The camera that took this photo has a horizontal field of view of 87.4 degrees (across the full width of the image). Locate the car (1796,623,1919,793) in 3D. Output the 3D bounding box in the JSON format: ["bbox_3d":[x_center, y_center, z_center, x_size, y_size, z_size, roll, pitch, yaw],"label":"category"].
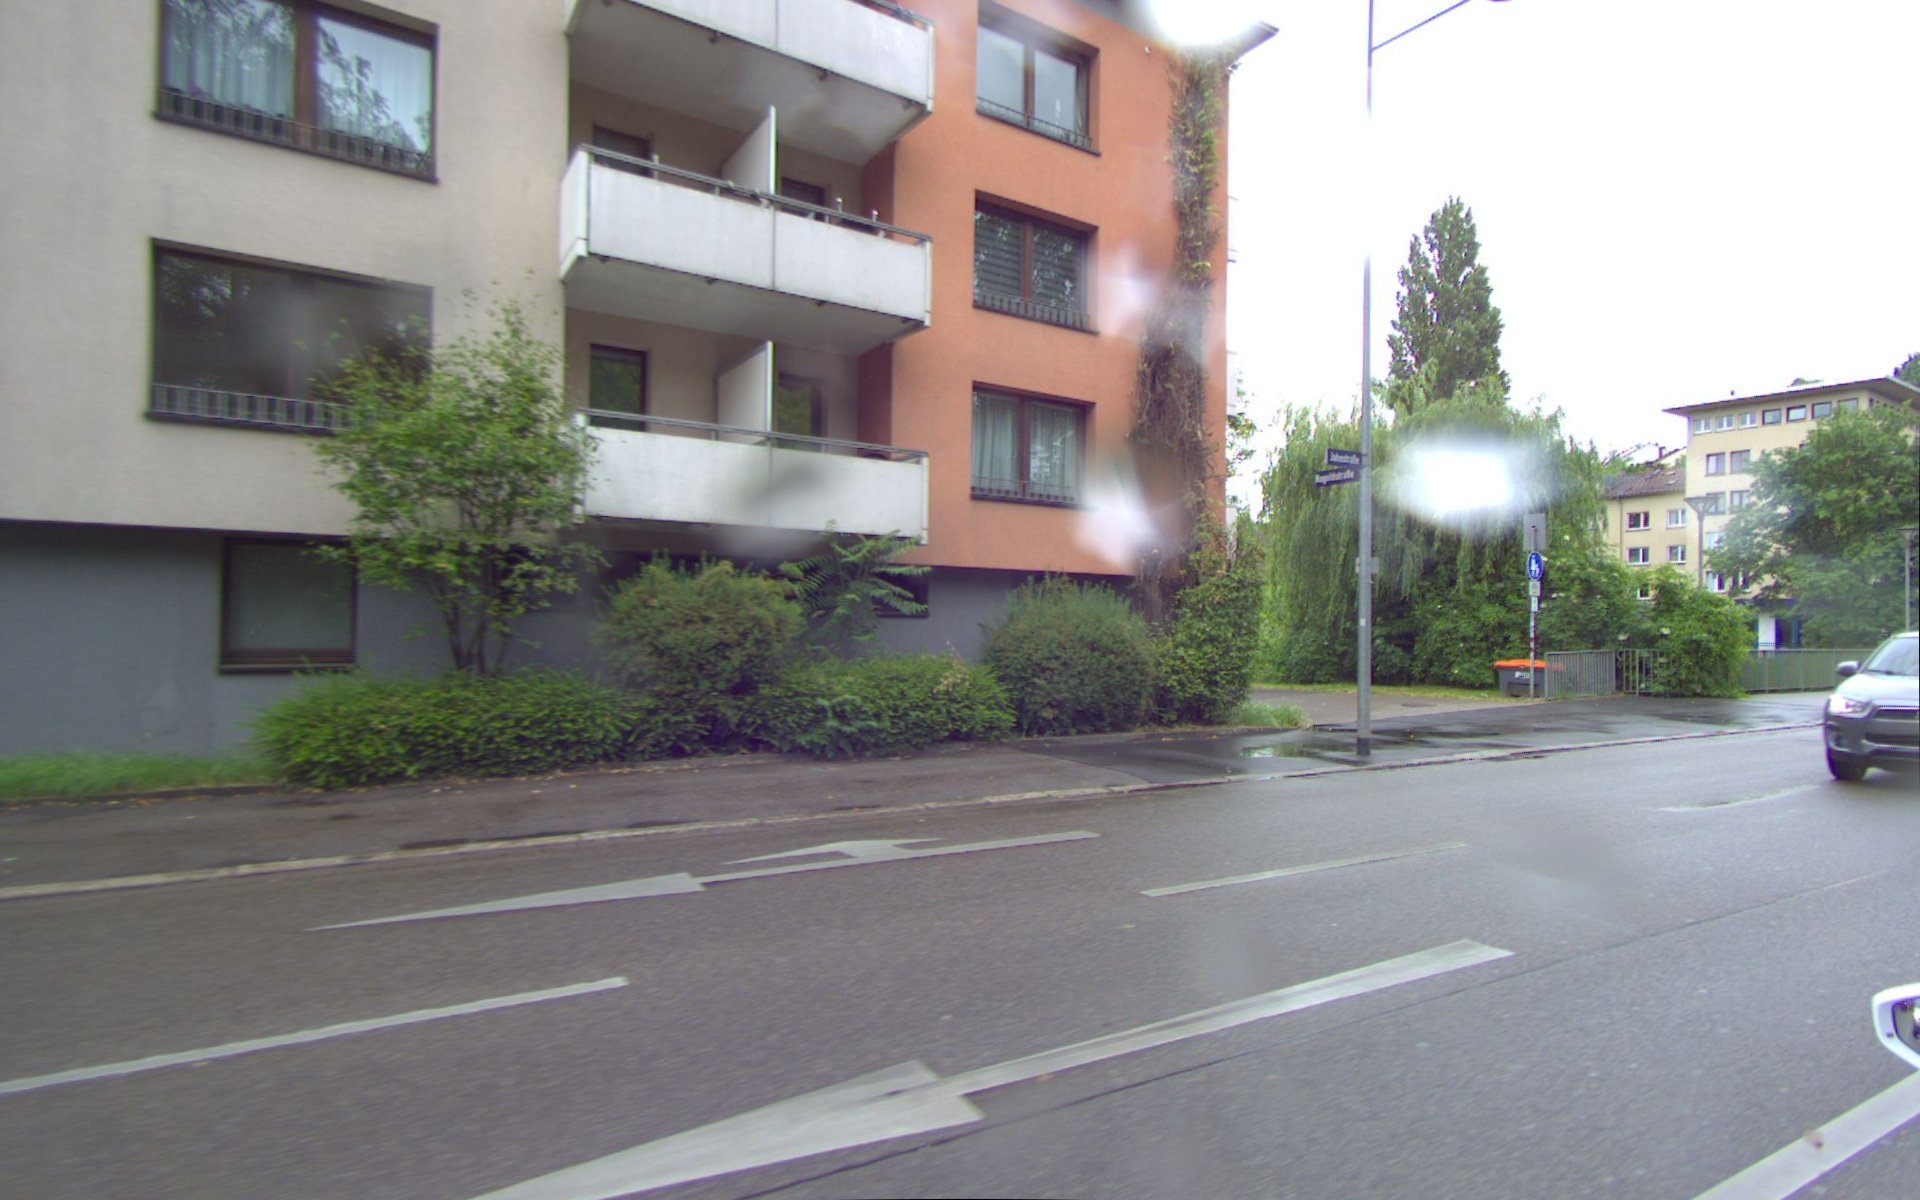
[{"bbox_3d":[10.826,1.052,10.673,4.185,1.599,1.803,1,-2,-33],"label":"car"}]

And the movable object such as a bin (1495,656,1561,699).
[{"bbox_3d":[12.223,1.658,21.639,0.822,0.888,0.961,2,-2,-30],"label":"movable object such as a bin"}]
